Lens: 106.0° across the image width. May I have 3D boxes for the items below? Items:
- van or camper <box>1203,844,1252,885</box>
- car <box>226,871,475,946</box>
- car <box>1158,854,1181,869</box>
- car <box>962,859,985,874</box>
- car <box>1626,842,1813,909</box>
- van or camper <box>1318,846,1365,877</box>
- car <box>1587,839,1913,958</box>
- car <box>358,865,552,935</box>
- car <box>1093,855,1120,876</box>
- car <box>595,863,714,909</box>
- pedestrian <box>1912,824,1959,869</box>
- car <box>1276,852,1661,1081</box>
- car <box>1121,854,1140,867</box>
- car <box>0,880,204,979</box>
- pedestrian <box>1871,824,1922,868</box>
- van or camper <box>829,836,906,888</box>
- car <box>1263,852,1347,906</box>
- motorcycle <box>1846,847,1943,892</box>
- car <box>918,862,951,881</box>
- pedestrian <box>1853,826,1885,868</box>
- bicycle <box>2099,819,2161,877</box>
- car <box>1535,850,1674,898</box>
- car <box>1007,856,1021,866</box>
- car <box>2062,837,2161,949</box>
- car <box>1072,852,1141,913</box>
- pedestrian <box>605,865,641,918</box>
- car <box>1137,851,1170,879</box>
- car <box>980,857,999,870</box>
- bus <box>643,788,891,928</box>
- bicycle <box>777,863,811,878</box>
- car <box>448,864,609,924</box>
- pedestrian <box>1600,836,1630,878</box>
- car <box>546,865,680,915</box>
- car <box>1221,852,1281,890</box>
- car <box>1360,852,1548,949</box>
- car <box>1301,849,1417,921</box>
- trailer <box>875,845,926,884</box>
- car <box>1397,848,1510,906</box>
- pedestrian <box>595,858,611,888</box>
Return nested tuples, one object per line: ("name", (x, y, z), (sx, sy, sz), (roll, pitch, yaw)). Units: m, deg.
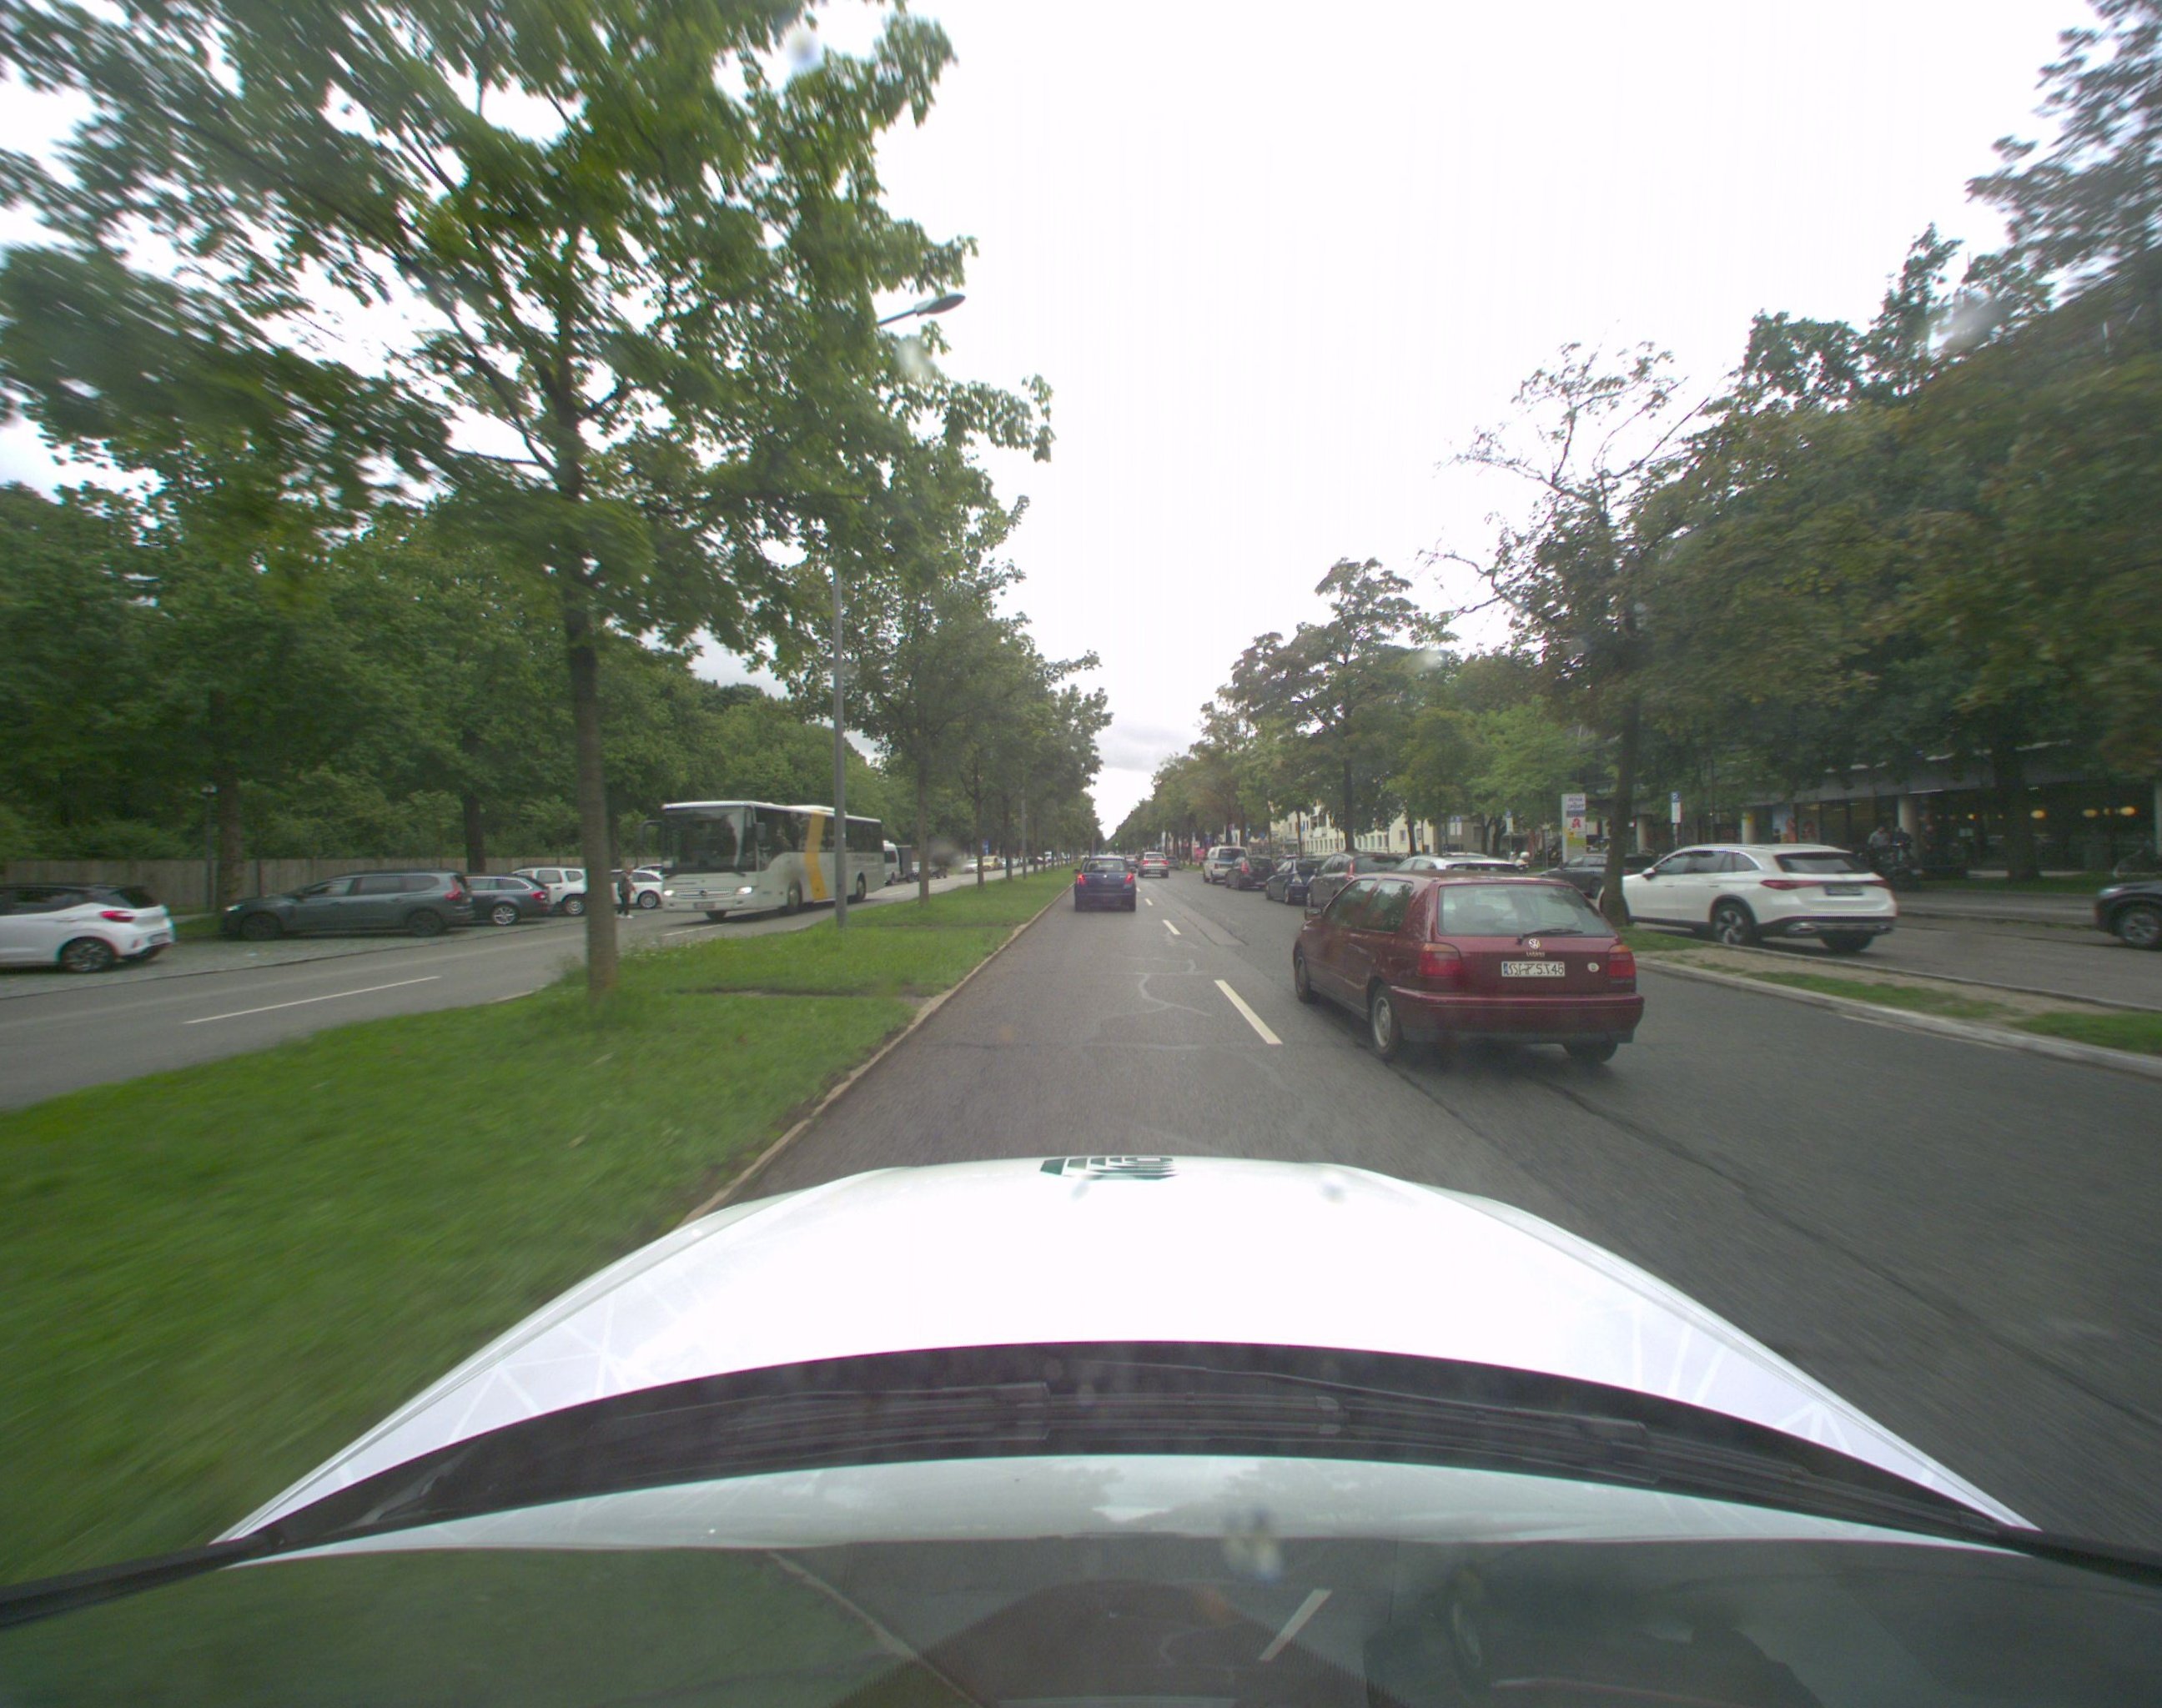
("van or camper", (7.633, 0.518, 42.762), (1.936, 1.975, 4.309), (-1, 0, 3))
("car", (-17.699, 1.254, 20.052), (4.199, 1.542, 1.901), (-1, 0, -29))
("car", (8.789, 0.731, 80.979), (1.844, 1.447, 4.097), (-1, 0, 0))
("car", (-11.564, 1.341, 87.942), (1.844, 1.447, 4.097), (-1, 0, 0))
("car", (17.191, 0.526, 22.234), (1.678, 1.632, 4.383), (-1, 0, 0))
("van or camper", (17.482, 0.490, 54.916), (1.936, 1.975, 4.309), (-1, 0, 3))
("car", (10.814, 0.621, 13.748), (1.678, 1.632, 4.782), (-1, 0, 2))
("car", (-17.483, 1.225, 23.044), (4.122, 1.695, 1.900), (-1, 0, -32))
("car", (1.794, 0.790, 59.130), (1.844, 1.447, 4.097), (-1, 0, 0))
("car", (-17.146, 1.234, 32.805), (4.122, 1.652, 1.900), (-1, 0, -32))
("pedestrian", (32.672, -0.293, 31.159), (0.959, 1.704, 0.798), (0, 0, 1))
("car", (2.975, 0.730, 7.242), (1.616, 1.454, 3.951), (-1, 0, 1))
("car", (5.596, 0.748, 92.294), (1.844, 1.447, 4.097), (-1, 0, 0))
("car", (-18.271, 1.294, 13.865), (4.119, 1.501, 1.901), (-1, 0, -29))
("pedestrian", (32.643, -0.316, 32.621), (1.012, 1.704, 1.047), (0, 0, 2))
("van or camper", (-12.627, 0.448, 48.753), (2.300, 2.833, 7.497), (-1, 0, 2))
("car", (7.072, 0.730, 26.103), (1.677, 1.553, 4.309), (-1, 0, 3))
("motorcycle", (22.365, 0.397, 22.453), (0.603, 1.140, 2.052), (-5, 0, 2))
("car", (-11.980, 1.415, 66.827), (1.844, 1.447, 4.097), (-1, 0, 0))
("pedestrian", (32.524, -0.288, 33.630), (0.678, 1.704, 0.698), (0, 0, 1))
("bicycle", (29.233, -0.187, 22.024), (2.605, 1.508, 0.797), (-1, 0, -5))
("car", (17.286, 0.620, 27.162), (1.680, 1.435, 4.378), (-1, 0, -3))
("car", (-10.553, 1.072, 128.345), (1.844, 1.447, 4.097), (-1, 0, 0))
("car", (16.659, 0.554, 10.888), (1.678, 1.632, 4.498), (-1, 0, 0))
("car", (0.683, 0.748, 23.372), (1.783, 1.555, 4.000), (-1, 0, 0))
("pedestrian", (-14.146, 1.142, 25.173), (0.723, 1.612, 0.678), (-1, 0, -6))
("car", (4.801, 0.688, 54.352), (1.844, 1.743, 4.097), (-1, 0, 0))
("car", (-11.081, 1.124, 98.691), (1.844, 1.447, 4.097), (-1, 0, 0))
("bus", (-9.270, 0.084, 26.403), (2.727, 3.377, 12.021), (-3, 0, 3))
("bicycle", (-22.663, 1.290, 64.308), (2.488, 1.144, 0.724), (0, 0, 3))
("car", (-17.624, 1.219, 26.213), (4.122, 1.695, 1.900), (-1, 0, -32))
("pedestrian", (22.450, 0.126, 34.253), (0.745, 1.706, 0.702), (-1, 0, 2))
("car", (-17.069, 1.263, 29.839), (4.122, 1.585, 1.900), (-1, 0, -32))
("car", (7.482, 0.722, 36.201), (1.679, 1.553, 4.304), (-1, 0, -1))
("car", (6.738, 0.741, 15.282), (1.677, 1.525, 4.459), (0, 0, 3))
("car", (6.907, 0.706, 20.706), (1.677, 1.626, 4.309), (0, 0, 3))
("trailer", (-12.506, 0.663, 56.852), (2.097, 2.540, 5.579), (-1, 0, 2))
("car", (11.149, 0.637, 24.664), (1.678, 1.585, 4.029), (-1, 0, 2))
("pedestrian", (-25.978, 1.023, 44.253), (0.682, 1.612, 0.685), (-1, 0, -29))
